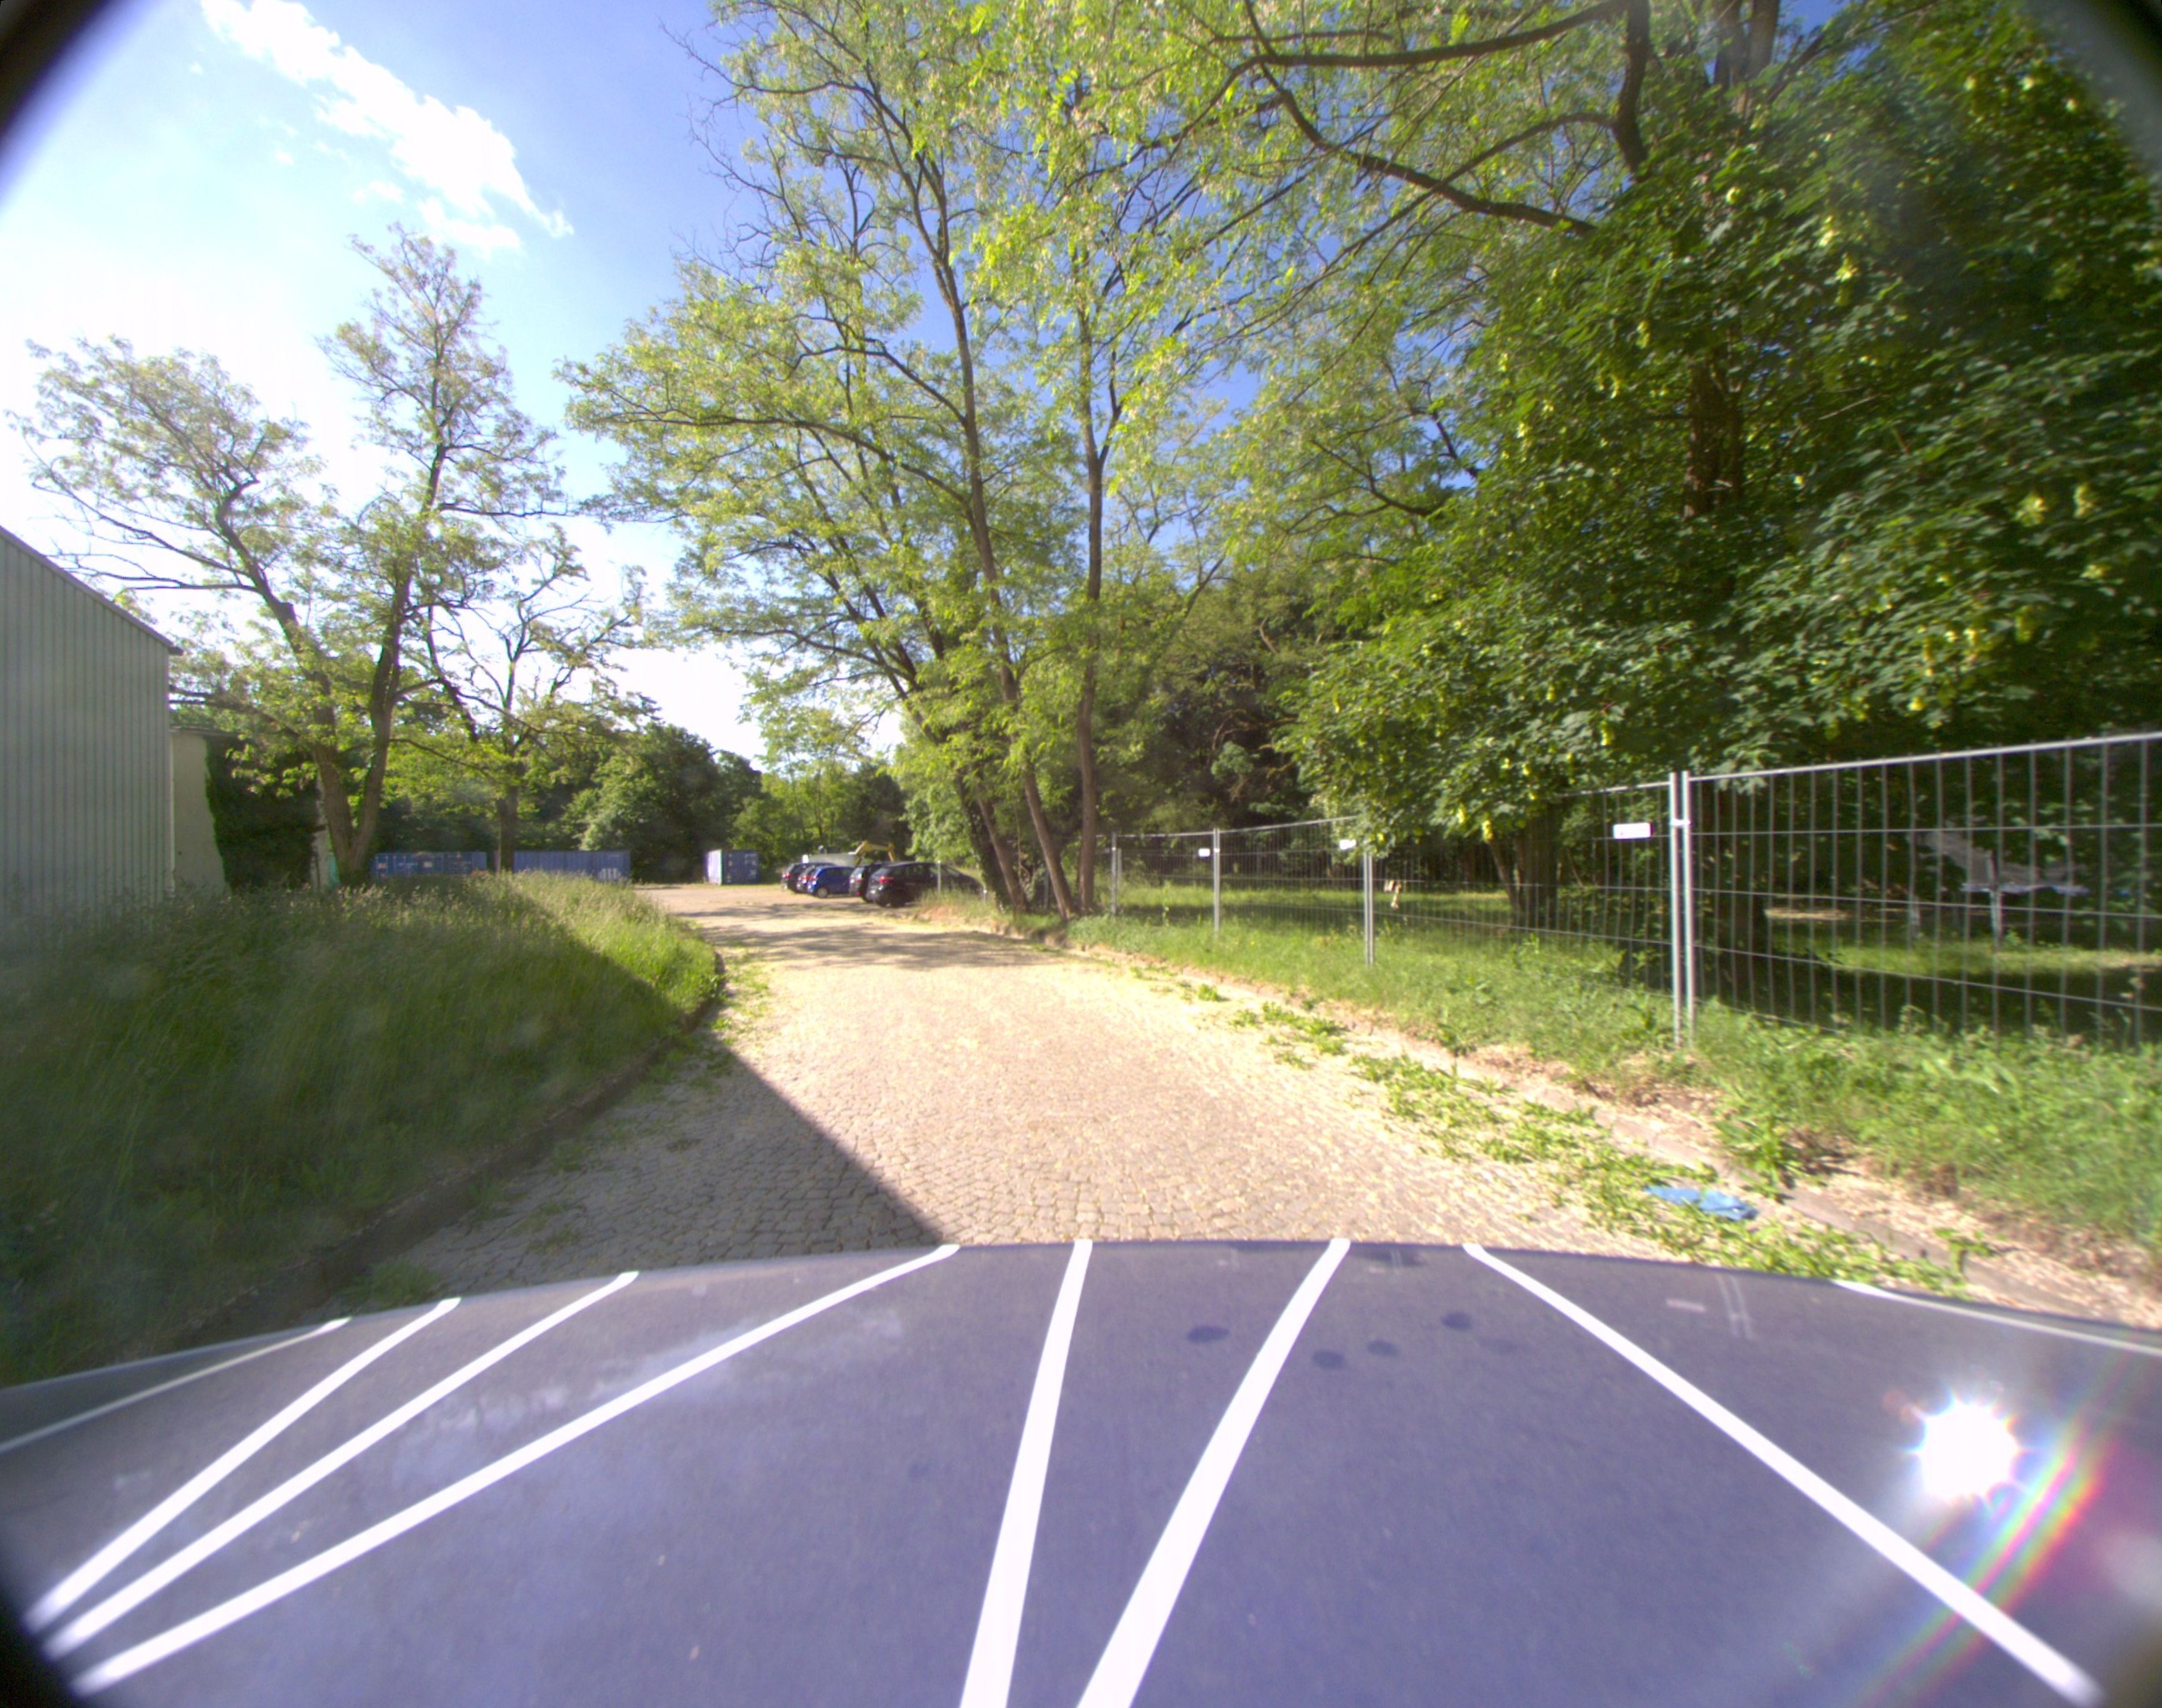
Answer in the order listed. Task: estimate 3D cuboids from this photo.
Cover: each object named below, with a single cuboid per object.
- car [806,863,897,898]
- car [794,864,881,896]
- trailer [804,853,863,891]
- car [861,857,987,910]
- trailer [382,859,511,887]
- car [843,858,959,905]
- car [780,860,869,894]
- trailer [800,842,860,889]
[{"bbox_3d":[-10.891,1.229,36.138,3.795,1.450,1.781,-2,1,-30],"label":"car"},{"bbox_3d":[-12.279,1.260,38.376,3.796,1.403,1.890,-2,1,-31],"label":"car"},{"bbox_3d":[-14.154,1.000,43.412,2.854,2.039,1.820,-2,1,-29],"label":"trailer"},{"bbox_3d":[-5.964,1.070,29.062,4.279,1.580,1.825,-5,2,-35],"label":"car"},{"bbox_3d":[-33.438,0.959,40.262,4.870,1.406,2.643,0,0,-31],"label":"trailer"},{"bbox_3d":[-7.553,1.090,32.043,4.280,1.622,1.875,-4,2,-35],"label":"car"},{"bbox_3d":[-13.619,1.172,40.416,4.137,1.580,1.966,-2,1,-31],"label":"car"},{"bbox_3d":[-15.044,0.658,45.495,2.853,2.525,2.260,-5,3,-29],"label":"trailer"}]
